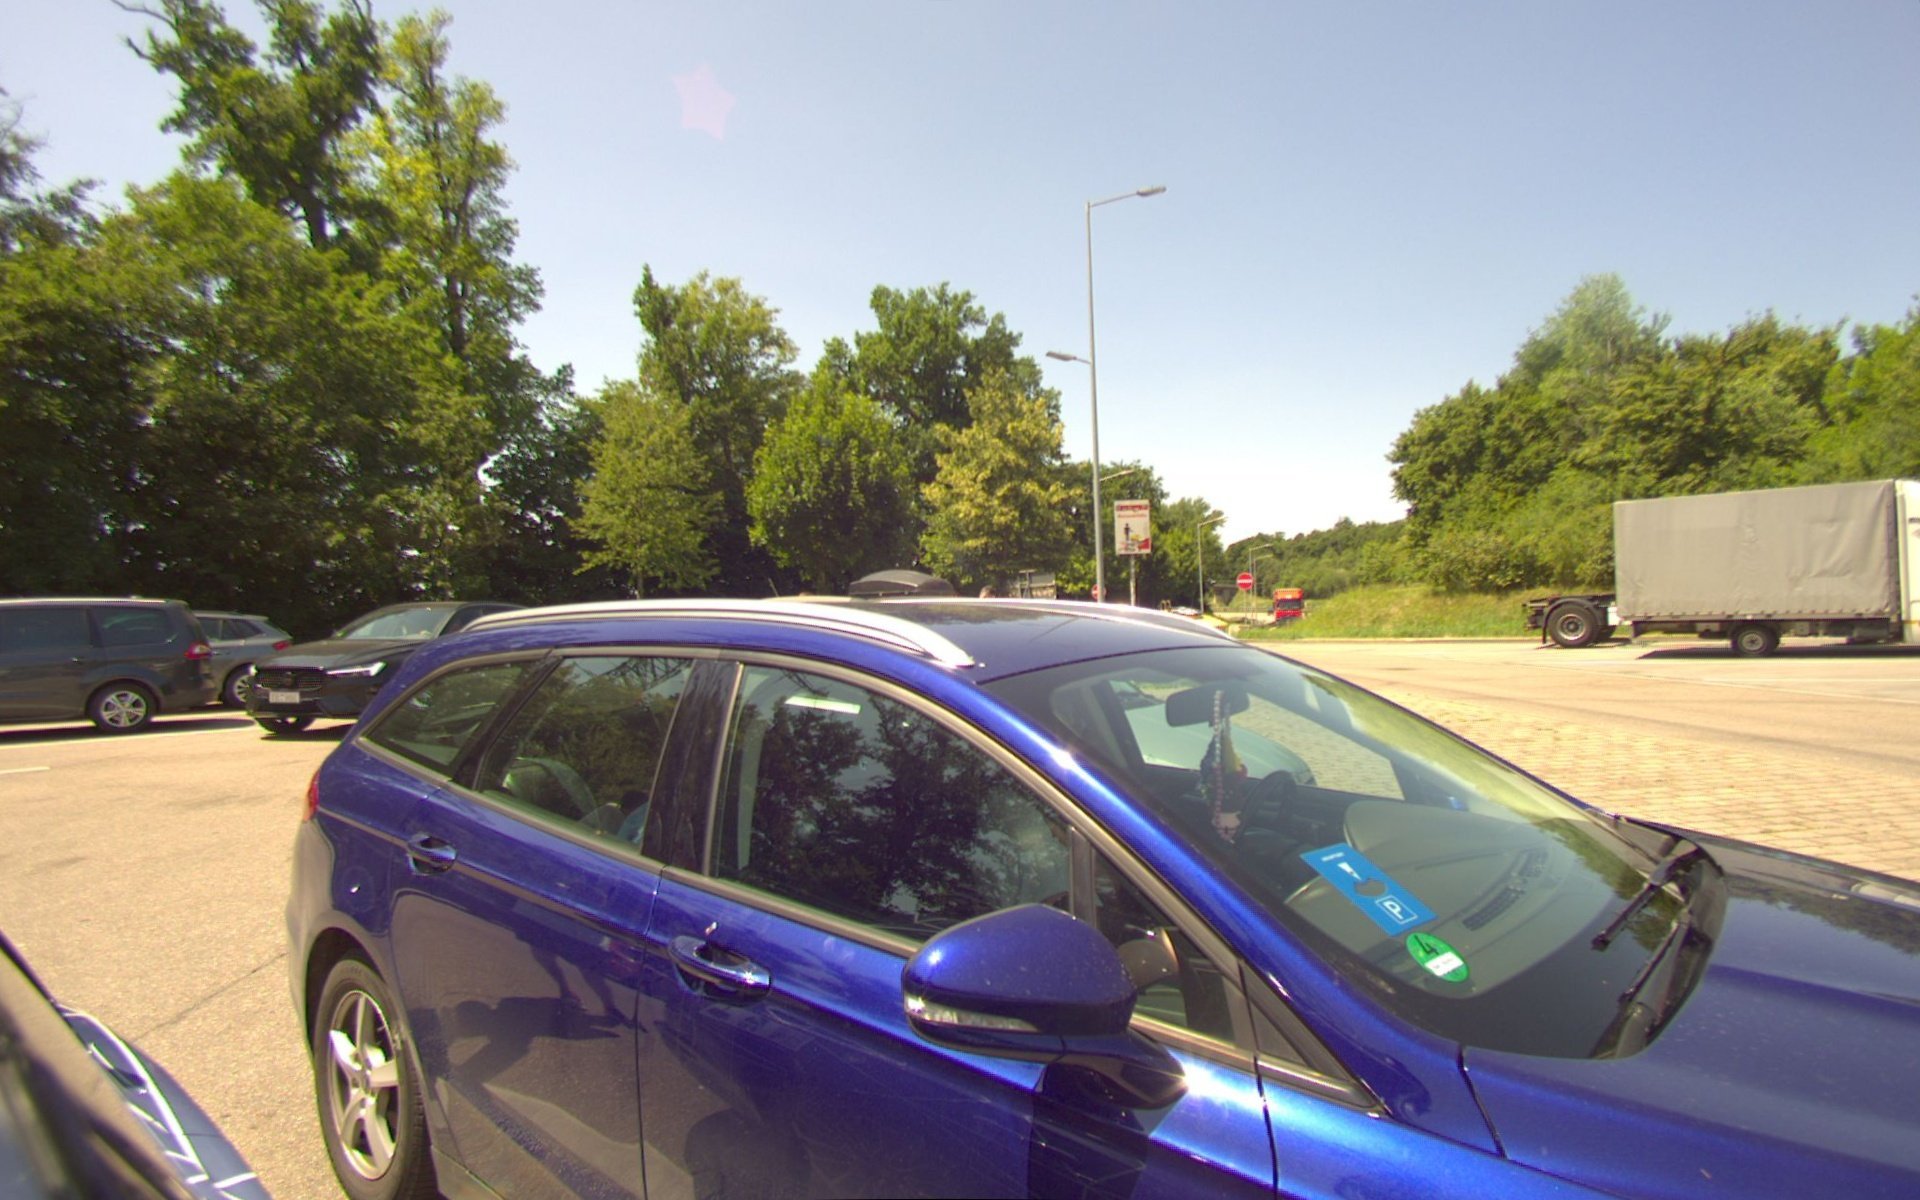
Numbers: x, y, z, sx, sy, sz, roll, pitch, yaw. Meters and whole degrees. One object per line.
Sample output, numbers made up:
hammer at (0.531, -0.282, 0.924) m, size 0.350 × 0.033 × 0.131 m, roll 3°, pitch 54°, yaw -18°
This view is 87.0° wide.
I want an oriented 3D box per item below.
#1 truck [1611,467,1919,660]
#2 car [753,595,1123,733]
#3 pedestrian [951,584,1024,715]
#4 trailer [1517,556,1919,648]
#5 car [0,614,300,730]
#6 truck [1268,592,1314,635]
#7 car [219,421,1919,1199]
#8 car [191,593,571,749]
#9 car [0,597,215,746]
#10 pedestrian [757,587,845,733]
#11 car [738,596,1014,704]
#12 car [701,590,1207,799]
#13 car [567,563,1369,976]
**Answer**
truck at (16.828, -0.659, 18.956) m, size 7.295 × 3.259 × 2.709 m, roll -4°, pitch -1°, yaw 43°
car at (-0.386, 0.772, 12.752) m, size 4.485 × 1.437 × 1.756 m, roll -3°, pitch -1°, yaw 36°
pedestrian at (0.377, 0.668, 14.060) m, size 0.819 × 1.746 × 0.678 m, roll -1°, pitch -1°, yaw -14°
trailer at (17.254, 0.121, 23.384) m, size 7.295 × 1.701 × 2.235 m, roll -4°, pitch -1°, yaw 43°
car at (-12.597, 1.002, 15.460) m, size 1.687 × 1.515 × 3.943 m, roll -1°, pitch 0°, yaw 43°
truck at (34.442, 1.309, 104.888) m, size 3.113 × 4.150 × 15.280 m, roll -1°, pitch 0°, yaw 23°
car at (0.252, 0.659, 2.132) m, size 4.490 × 1.502 × 1.851 m, roll -3°, pitch 0°, yaw 40°
car at (-7.437, 0.799, 13.671) m, size 1.978 × 1.725 × 4.602 m, roll -1°, pitch 0°, yaw 10°
car at (-11.942, 0.857, 12.296) m, size 4.553 × 1.725 × 1.741 m, roll 0°, pitch -1°, yaw -41°
pedestrian at (-1.889, 0.703, 12.086) m, size 0.825 × 1.676 × 0.673 m, roll -1°, pitch -1°, yaw 12°
car at (-1.477, 0.824, 16.852) m, size 4.485 × 1.562 × 1.756 m, roll -3°, pitch -1°, yaw 36°
car at (-0.246, 0.747, 9.205) m, size 4.490 × 1.437 × 1.754 m, roll -3°, pitch -1°, yaw 40°
car at (-0.259, 0.692, 5.831) m, size 4.490 × 1.511 × 1.754 m, roll -3°, pitch -1°, yaw 40°
